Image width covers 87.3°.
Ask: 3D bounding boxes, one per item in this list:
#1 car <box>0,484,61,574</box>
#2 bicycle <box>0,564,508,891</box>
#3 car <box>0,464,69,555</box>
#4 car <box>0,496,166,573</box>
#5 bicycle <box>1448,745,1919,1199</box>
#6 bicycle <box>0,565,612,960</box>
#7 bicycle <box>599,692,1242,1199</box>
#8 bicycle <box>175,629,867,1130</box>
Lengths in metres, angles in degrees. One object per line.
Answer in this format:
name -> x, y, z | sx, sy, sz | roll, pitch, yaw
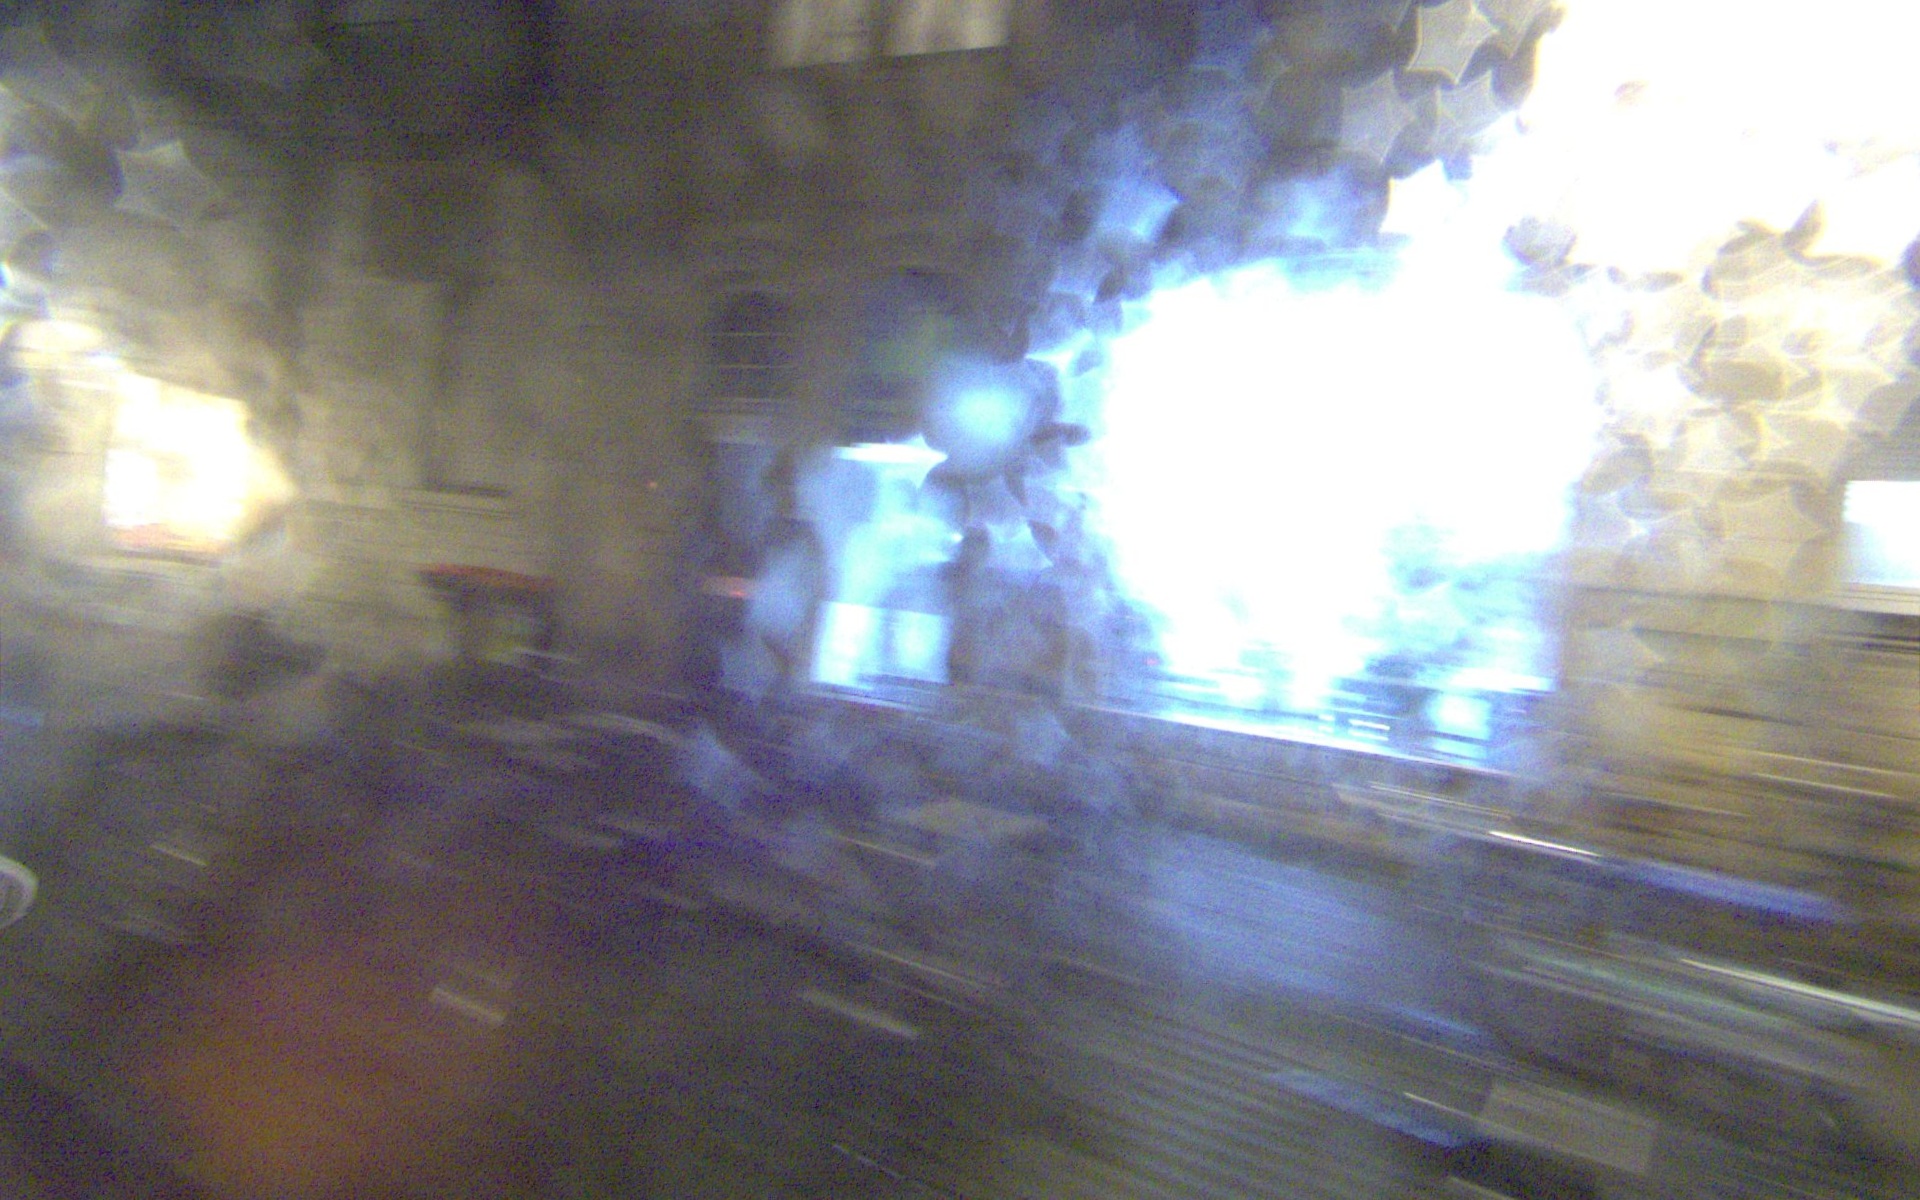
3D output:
car -> -17.314, -1.259, 17.209 | 1.627, 1.545, 3.564 | 2, 2, -19
bicycle -> -2.932, 0.437, 4.073 | 0.631, 1.019, 1.971 | 6, 0, 28
car -> -27.781, -2.654, 28.220 | 2.193, 2.471, 5.358 | 7, 0, -21
car -> -19.143, -1.379, 21.949 | 1.625, 1.461, 4.037 | 2, 2, -19
bicycle -> 1.230, 0.914, 1.743 | 0.631, 1.078, 1.971 | 6, 0, 28
bicycle -> -2.334, 0.486, 3.770 | 0.631, 1.048, 1.971 | 6, 0, 28
bicycle -> 0.121, 0.810, 2.510 | 0.631, 1.019, 1.971 | 6, 0, 28
bicycle -> -1.142, 0.654, 3.176 | 0.631, 1.019, 1.971 | 6, 0, 28
